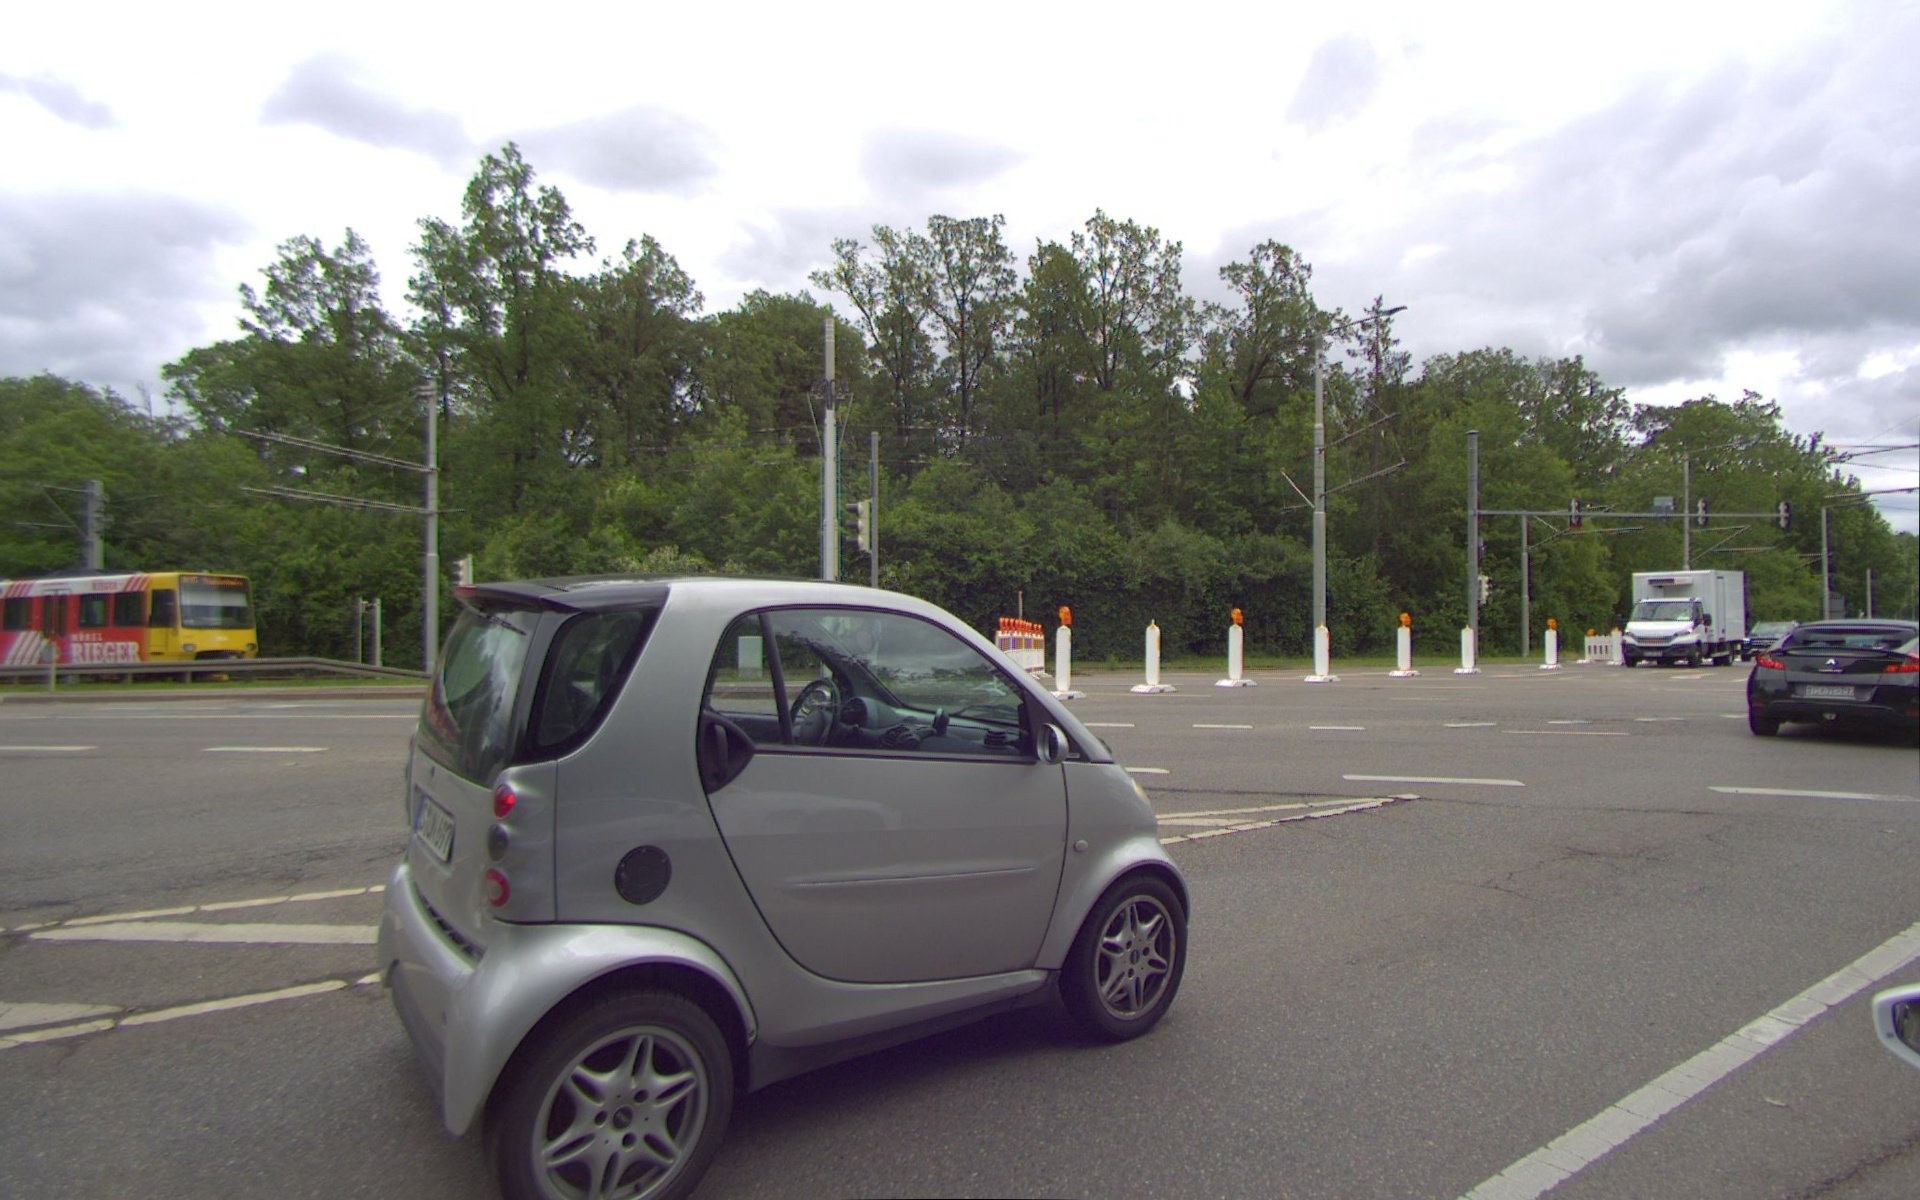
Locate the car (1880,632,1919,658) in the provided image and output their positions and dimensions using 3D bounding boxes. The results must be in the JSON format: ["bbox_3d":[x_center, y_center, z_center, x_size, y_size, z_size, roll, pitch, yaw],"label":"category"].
[{"bbox_3d":[60.139,2.824,63.790,4.274,1.628,1.946,2,-2,-39],"label":"car"}]

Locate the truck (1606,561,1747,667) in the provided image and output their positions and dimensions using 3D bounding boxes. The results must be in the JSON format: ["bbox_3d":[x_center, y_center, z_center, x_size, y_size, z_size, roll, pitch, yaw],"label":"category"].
[{"bbox_3d":[24.489,0.581,34.186,7.103,3.266,2.427,2,-4,-42],"label":"truck"}]

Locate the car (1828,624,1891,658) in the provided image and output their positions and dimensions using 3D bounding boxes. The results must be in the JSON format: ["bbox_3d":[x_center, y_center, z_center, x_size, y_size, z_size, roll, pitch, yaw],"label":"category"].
[{"bbox_3d":[51.260,2.328,57.219,4.650,1.869,1.946,2,-2,-39],"label":"car"}]

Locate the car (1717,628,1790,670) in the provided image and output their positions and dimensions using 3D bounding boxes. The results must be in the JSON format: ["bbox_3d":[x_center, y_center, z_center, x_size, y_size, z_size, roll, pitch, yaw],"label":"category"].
[{"bbox_3d":[35.462,2.168,44.867,4.814,1.773,1.943,2,-3,-44],"label":"car"}]

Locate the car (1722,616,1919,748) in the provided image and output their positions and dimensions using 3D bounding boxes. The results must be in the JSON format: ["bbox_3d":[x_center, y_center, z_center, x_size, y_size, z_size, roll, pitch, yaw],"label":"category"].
[{"bbox_3d":[10.904,0.935,12.224,3.446,1.379,1.761,2,-3,-38],"label":"car"}]

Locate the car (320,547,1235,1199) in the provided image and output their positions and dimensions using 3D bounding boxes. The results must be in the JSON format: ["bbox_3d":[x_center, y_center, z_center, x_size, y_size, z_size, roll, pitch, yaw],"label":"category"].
[{"bbox_3d":[-0.496,0.763,3.423,2.704,1.607,1.446,2,-3,-38],"label":"car"}]

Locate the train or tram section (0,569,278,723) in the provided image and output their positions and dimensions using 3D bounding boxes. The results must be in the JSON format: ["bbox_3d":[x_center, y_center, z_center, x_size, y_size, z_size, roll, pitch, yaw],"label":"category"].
[{"bbox_3d":[-32.028,1.378,35.180,18.177,4.711,2.957,1,-2,19],"label":"train or tram section"}]

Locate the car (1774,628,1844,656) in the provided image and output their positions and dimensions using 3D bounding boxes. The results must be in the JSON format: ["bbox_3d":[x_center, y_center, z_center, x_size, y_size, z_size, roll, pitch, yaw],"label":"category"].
[{"bbox_3d":[44.030,2.171,52.058,4.650,1.379,1.946,2,-2,-39],"label":"car"}]
